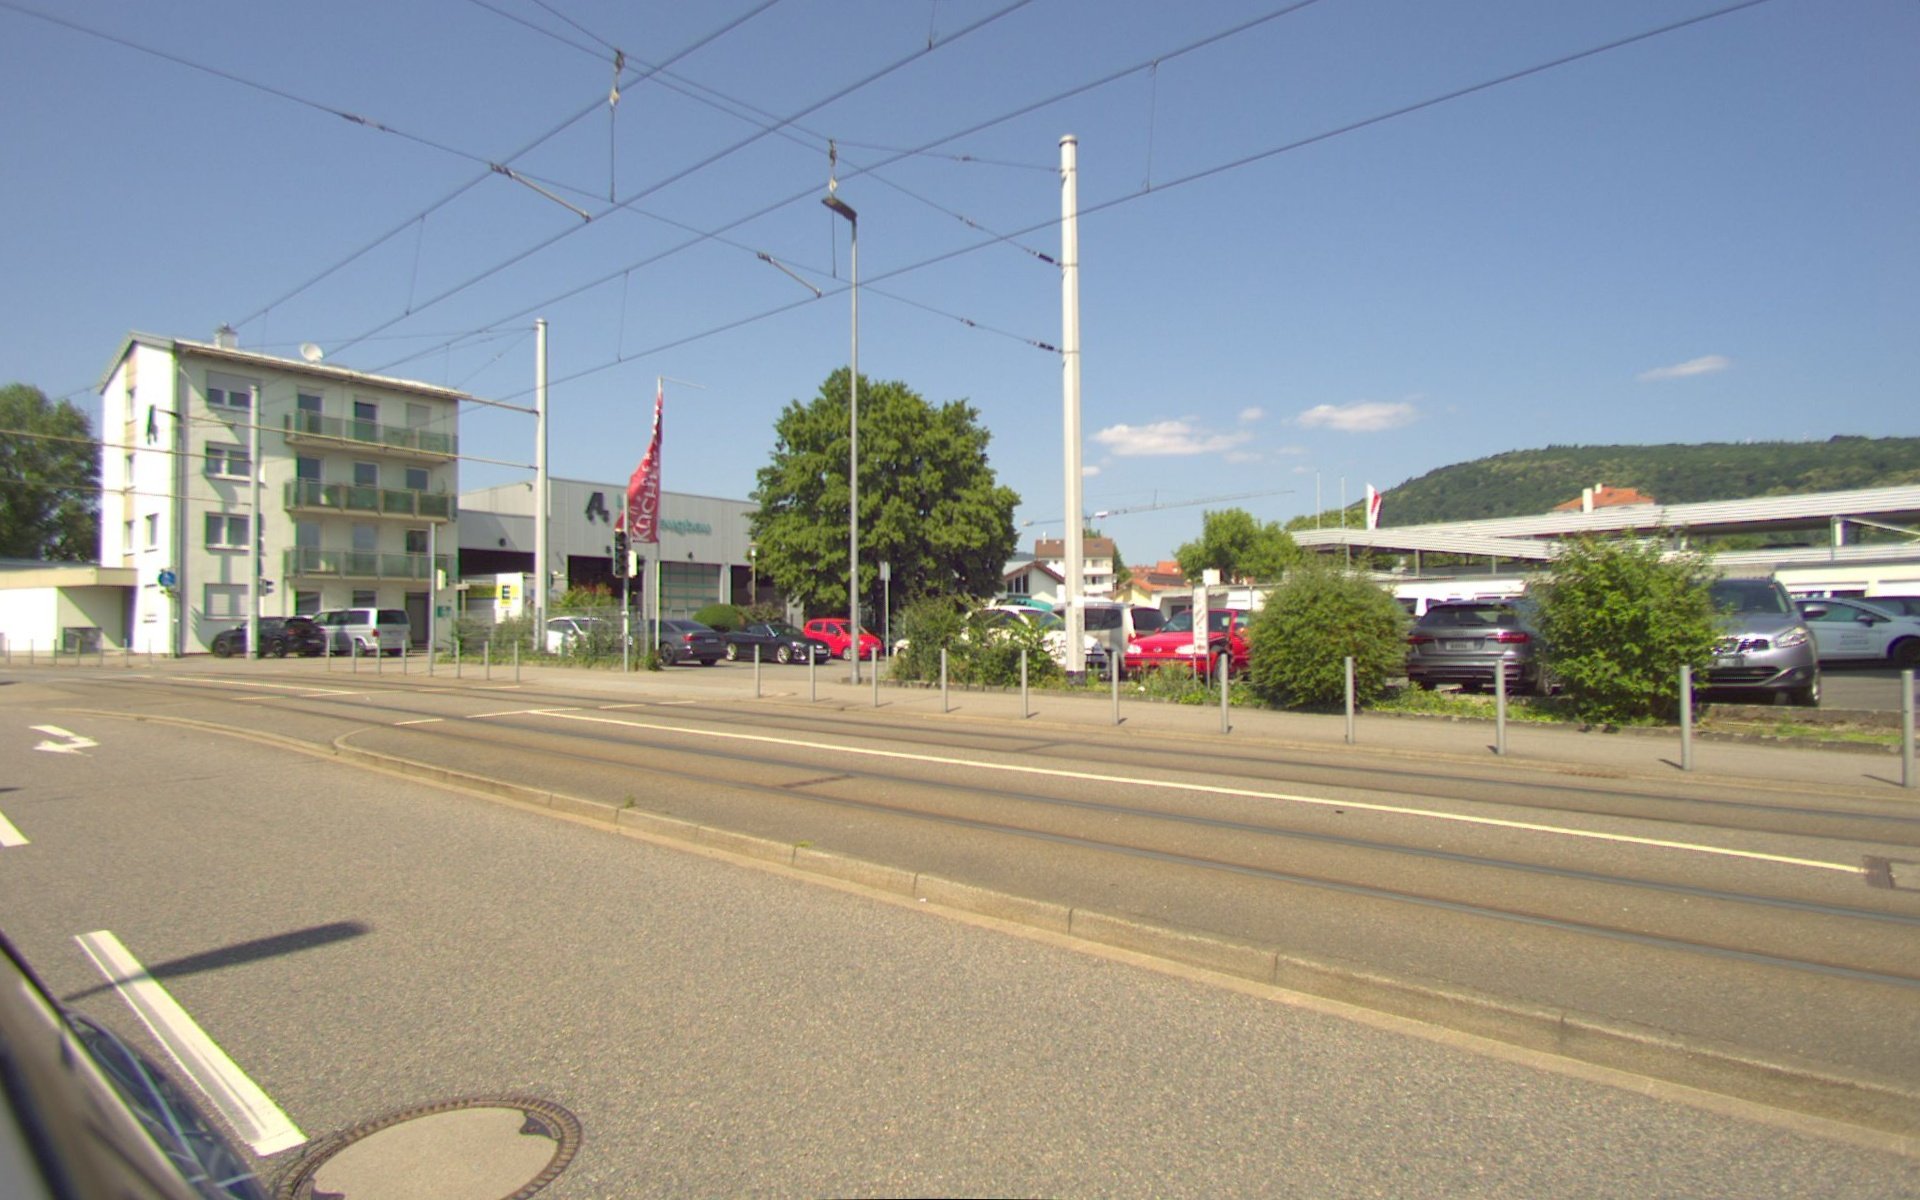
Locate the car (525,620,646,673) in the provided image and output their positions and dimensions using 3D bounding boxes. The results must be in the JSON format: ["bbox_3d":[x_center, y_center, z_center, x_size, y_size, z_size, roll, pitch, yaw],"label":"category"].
[{"bbox_3d":[-11.161,1.341,30.076,3.952,1.444,1.690,-1,-1,41],"label":"car"}]

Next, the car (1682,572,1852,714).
[{"bbox_3d":[10.151,0.504,12.877,1.472,1.540,3.590,-2,-2,37],"label":"car"}]

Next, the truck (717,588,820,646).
[{"bbox_3d":[-13.308,1.219,69.936,7.853,3.810,2.590,-1,-2,39],"label":"truck"}]

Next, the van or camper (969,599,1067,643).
[{"bbox_3d":[2.770,1.018,48.998,1.970,2.023,4.648,1,-2,-43],"label":"van or camper"}]

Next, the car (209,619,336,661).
[{"bbox_3d":[-26.248,1.531,38.699,3.935,1.532,1.872,-1,-2,14],"label":"car"}]

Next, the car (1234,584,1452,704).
[{"bbox_3d":[6.363,0.663,16.608,2.000,1.719,3.943,-2,-2,43],"label":"car"}]

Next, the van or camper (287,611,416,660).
[{"bbox_3d":[-24.580,1.415,40.888,4.519,1.922,1.988,0,-2,19],"label":"van or camper"}]

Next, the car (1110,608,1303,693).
[{"bbox_3d":[4.538,0.861,18.336,1.749,1.381,3.781,-2,-2,44],"label":"car"}]

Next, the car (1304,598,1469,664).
[{"bbox_3d":[14.015,1.009,33.441,2.027,2.029,4.584,1,-2,-43],"label":"car"}]

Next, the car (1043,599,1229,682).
[{"bbox_3d":[4.116,0.941,24.115,1.969,1.798,4.006,0,-2,-41],"label":"car"}]

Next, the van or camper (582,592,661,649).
[{"bbox_3d":[-20.250,1.270,60.467,5.050,3.230,1.975,-2,-2,37],"label":"van or camper"}]

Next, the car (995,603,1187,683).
[{"bbox_3d":[2.784,0.914,22.113,1.828,1.580,3.940,1,-2,-41],"label":"car"}]

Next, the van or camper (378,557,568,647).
[{"bbox_3d":[-24.698,0.236,50.948,11.595,3.721,2.752,-4,-3,31],"label":"van or camper"}]

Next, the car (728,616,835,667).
[{"bbox_3d":[-6.136,1.397,34.600,1.828,1.633,3.841,2,-3,-42],"label":"car"}]

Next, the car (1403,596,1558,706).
[{"bbox_3d":[7.825,0.702,15.093,1.545,1.433,3.357,-2,-2,36],"label":"car"}]

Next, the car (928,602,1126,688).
[{"bbox_3d":[1.258,0.866,20.222,1.714,1.553,3.841,1,-2,-42],"label":"car"}]

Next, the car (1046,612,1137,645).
[{"bbox_3d":[6.379,1.390,49.378,3.997,1.567,1.973,-2,-2,40],"label":"car"}]

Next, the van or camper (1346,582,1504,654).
[{"bbox_3d":[15.978,0.637,34.962,1.755,2.323,4.604,0,-2,-45],"label":"van or camper"}]

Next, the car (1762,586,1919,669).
[{"bbox_3d":[17.505,0.527,19.342,1.400,1.437,3.136,1,-5,-42],"label":"car"}]

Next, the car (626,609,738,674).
[{"bbox_3d":[-8.654,1.300,31.337,1.743,1.634,3.840,0,-7,-42],"label":"car"}]

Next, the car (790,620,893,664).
[{"bbox_3d":[-4.633,1.606,39.333,3.832,1.605,1.833,-2,-2,39],"label":"car"}]

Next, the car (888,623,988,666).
[{"bbox_3d":[-0.803,1.573,36.232,3.384,1.496,1.498,-2,-2,38],"label":"car"}]
